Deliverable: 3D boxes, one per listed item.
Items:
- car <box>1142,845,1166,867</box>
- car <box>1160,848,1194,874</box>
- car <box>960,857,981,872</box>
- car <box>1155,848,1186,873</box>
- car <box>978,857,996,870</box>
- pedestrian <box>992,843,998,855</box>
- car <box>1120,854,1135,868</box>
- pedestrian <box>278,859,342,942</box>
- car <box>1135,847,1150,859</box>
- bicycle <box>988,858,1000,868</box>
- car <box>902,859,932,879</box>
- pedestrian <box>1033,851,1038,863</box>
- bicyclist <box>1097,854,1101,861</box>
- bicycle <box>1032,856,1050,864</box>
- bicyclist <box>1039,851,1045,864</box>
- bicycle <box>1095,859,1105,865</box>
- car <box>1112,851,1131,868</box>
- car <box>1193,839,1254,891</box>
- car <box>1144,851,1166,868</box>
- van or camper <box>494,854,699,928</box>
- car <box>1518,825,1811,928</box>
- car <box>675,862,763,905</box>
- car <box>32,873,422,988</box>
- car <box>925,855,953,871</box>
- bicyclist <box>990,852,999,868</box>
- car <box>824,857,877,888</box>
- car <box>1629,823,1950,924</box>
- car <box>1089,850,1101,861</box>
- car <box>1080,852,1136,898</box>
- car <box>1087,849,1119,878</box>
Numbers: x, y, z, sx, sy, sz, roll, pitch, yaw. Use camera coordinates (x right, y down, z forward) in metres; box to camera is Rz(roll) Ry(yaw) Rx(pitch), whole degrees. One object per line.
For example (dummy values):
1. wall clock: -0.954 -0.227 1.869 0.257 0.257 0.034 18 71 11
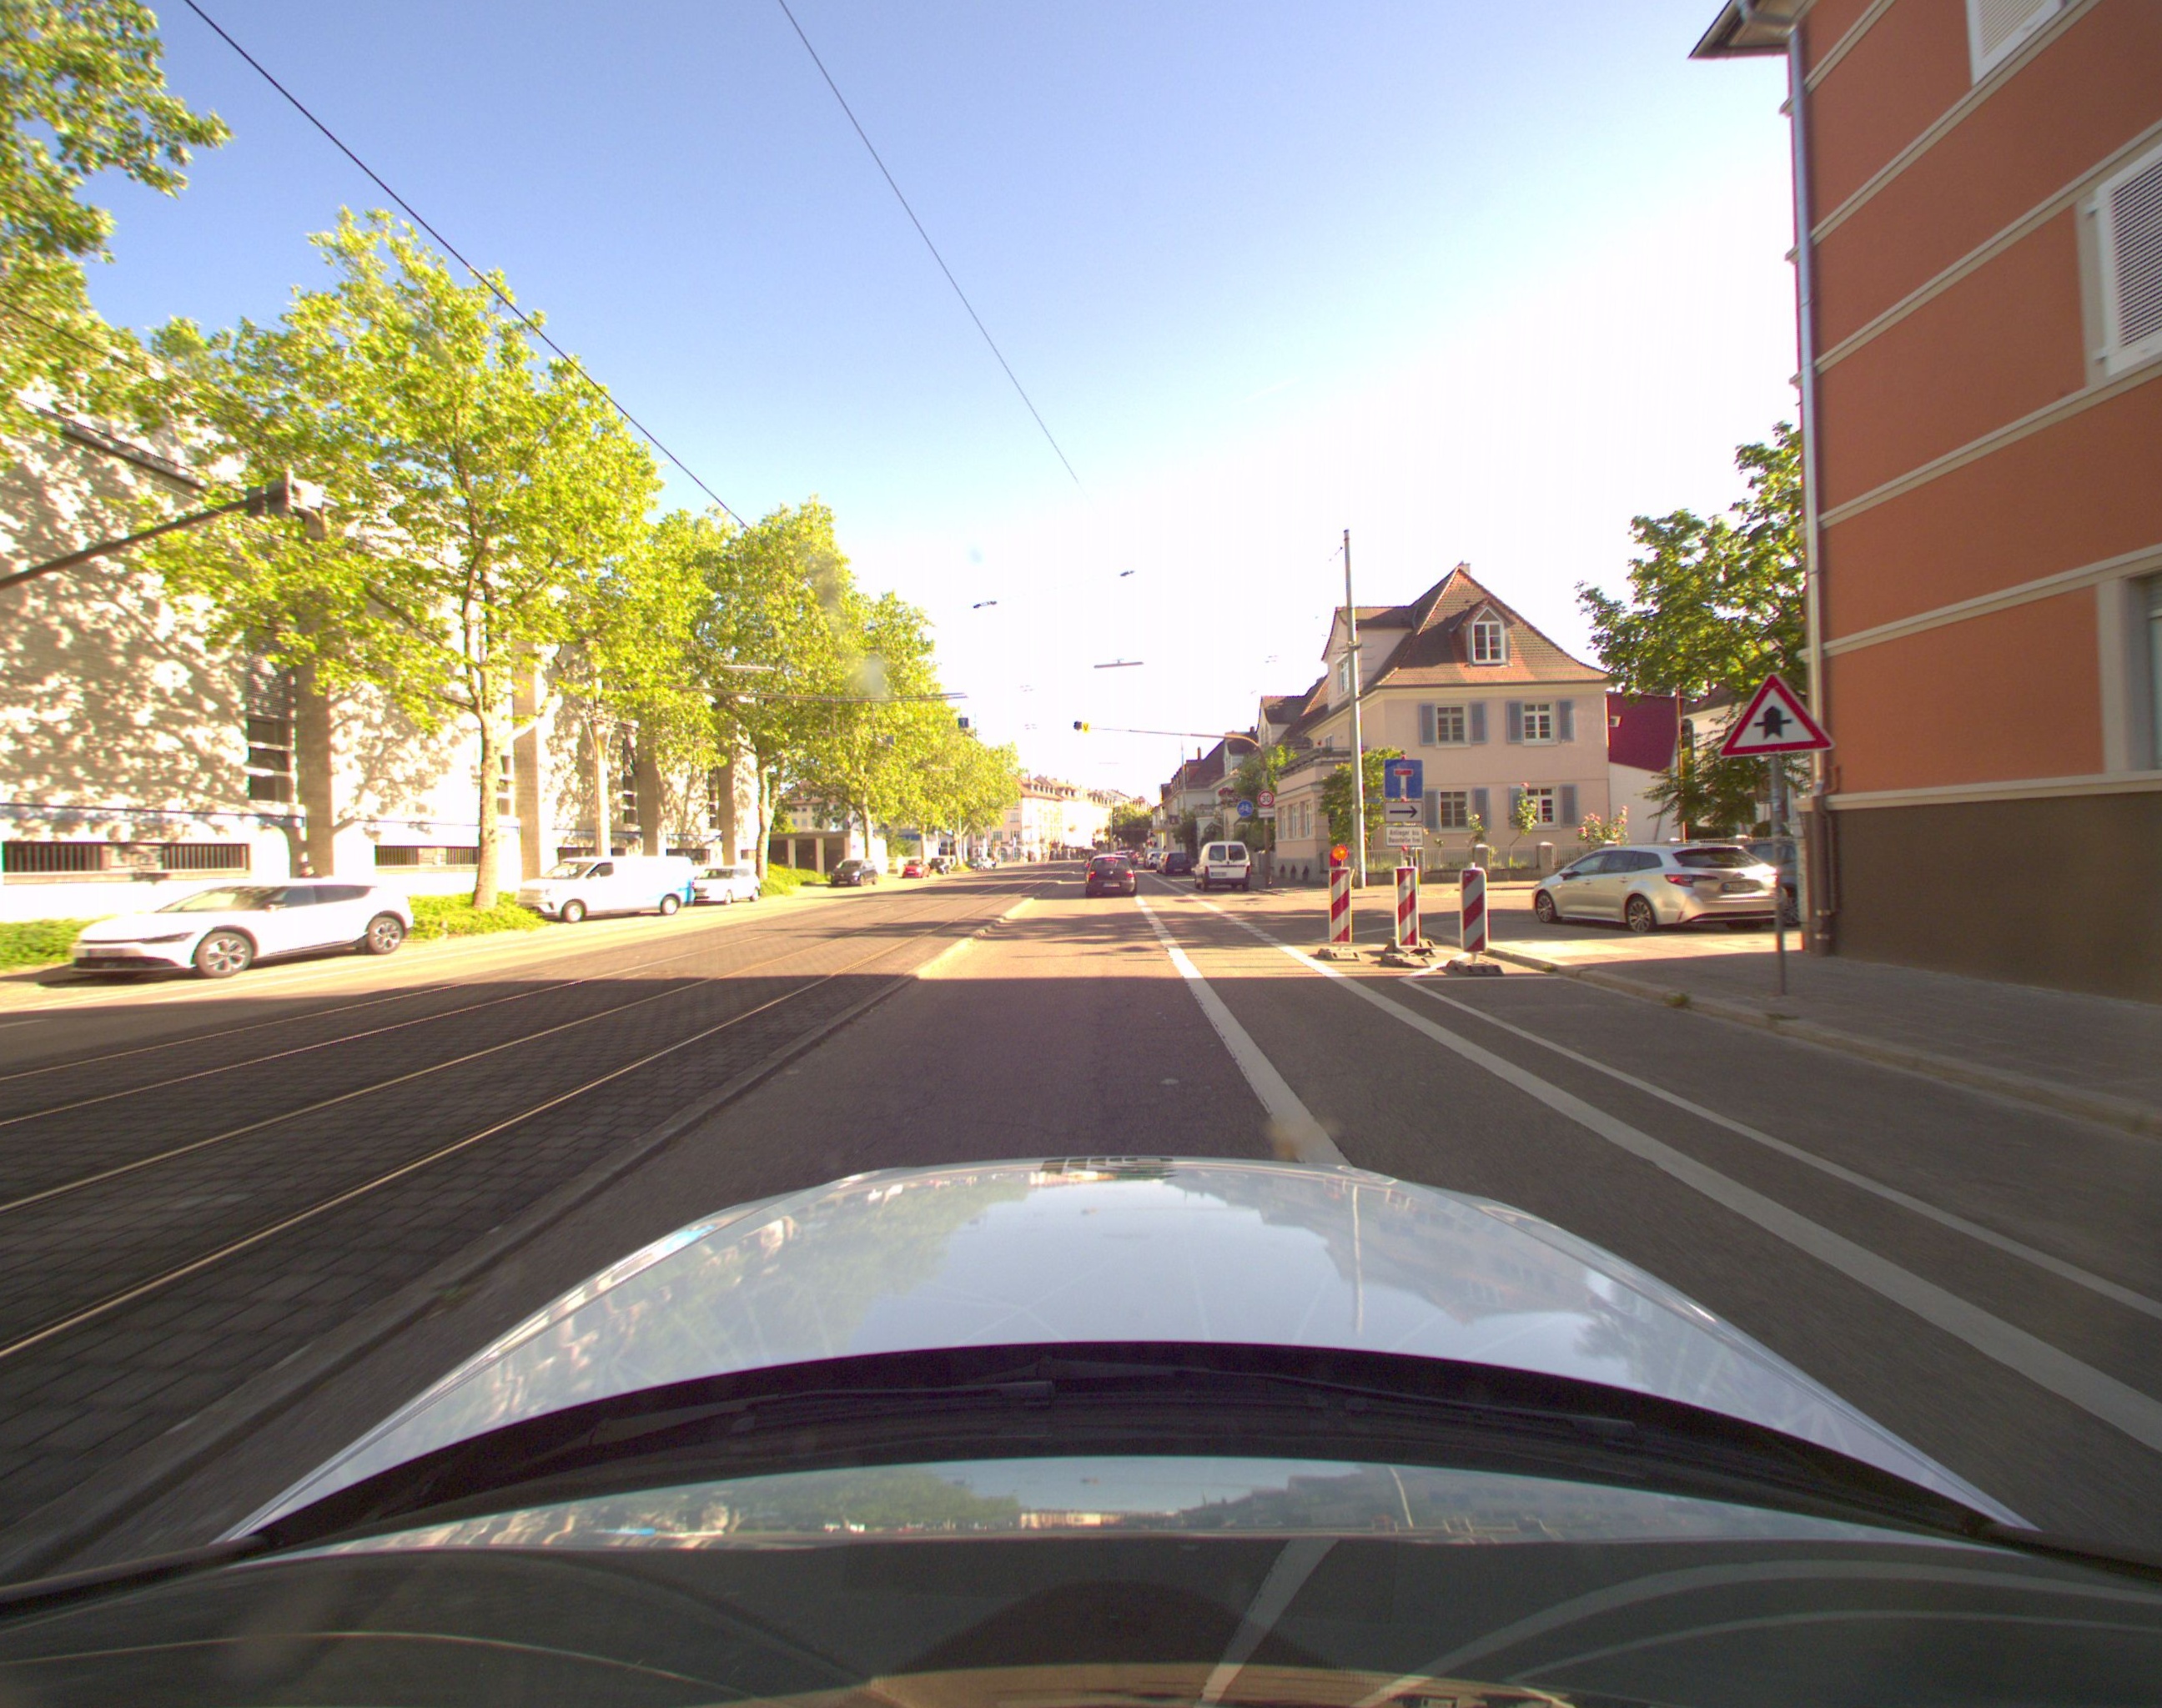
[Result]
1. car: 6.484 0.159 72.678 1.811 1.799 4.001 -2 0 2
2. car: 5.851 0.407 50.062 1.655 1.526 4.038 -2 0 2
3. car: -12.759 1.174 94.599 1.877 1.669 3.805 0 1 1
4. car: 5.937 0.415 54.465 1.742 1.537 3.957 -2 0 2
5. car: -11.652 1.119 100.960 1.630 1.472 3.731 -2 0 2
6. pedestrian: -17.990 -1.047 170.980 1.220 2.540 1.349 0 0 -3
7. car: 5.442 0.815 95.089 1.630 1.472 3.731 -2 0 2
8. pedestrian: -17.300 1.022 18.294 0.794 1.820 0.670 0 0 1
9. car: 7.951 -0.080 105.497 1.630 1.472 3.731 -2 0 2
10. bicycle: -9.938 1.053 93.400 0.910 1.083 3.204 0 1 2
11. car: -13.213 1.213 65.732 1.564 1.533 3.573 -2 -1 2
12. pedestrian: -9.635 0.598 173.597 0.953 2.659 1.099 0 0 -1
13. bicyclist: 3.782 0.701 168.969 0.680 1.336 0.922 0 0 -2
14. bicycle: -6.272 0.956 126.698 2.732 1.262 0.706 0 0 1
15. bicyclist: -6.053 0.559 126.685 0.873 2.009 0.706 0 0 1
16. bicycle: 3.981 1.598 168.964 2.081 1.141 0.922 0 0 -3
17. car: 3.732 0.448 74.883 1.630 1.472 3.731 -2 0 2
18. car: 5.226 0.366 30.303 1.752 1.837 3.549 0 1 1
19. car: 6.136 0.430 67.822 1.574 1.375 4.001 -2 0 2
20. van or camper: -14.569 0.996 24.934 2.042 1.949 5.217 0 1 21
21. car: 9.521 0.408 13.859 1.697 1.389 4.514 -3 -2 0
22. car: -14.305 1.110 32.394 1.568 1.507 4.092 0 1 2
23. car: -14.729 1.205 14.583 2.005 1.572 4.693 0 1 0
24. car: -13.057 0.809 75.014 1.786 1.465 3.837 1 0 2
25. bicyclist: -9.944 0.678 93.378 0.910 1.833 0.960 0 0 1
26. car: -13.850 1.079 49.098 1.881 1.666 4.001 -2 0 2
27. car: 12.321 0.388 14.676 1.768 1.458 4.514 -3 -2 0
28. car: 1.963 0.229 112.122 1.630 1.472 3.731 -1 0 2
29. car: 0.887 0.662 28.132 1.743 1.375 4.000 -2 0 0
30. car: 1.315 0.526 48.317 1.742 1.537 3.894 -2 0 2
